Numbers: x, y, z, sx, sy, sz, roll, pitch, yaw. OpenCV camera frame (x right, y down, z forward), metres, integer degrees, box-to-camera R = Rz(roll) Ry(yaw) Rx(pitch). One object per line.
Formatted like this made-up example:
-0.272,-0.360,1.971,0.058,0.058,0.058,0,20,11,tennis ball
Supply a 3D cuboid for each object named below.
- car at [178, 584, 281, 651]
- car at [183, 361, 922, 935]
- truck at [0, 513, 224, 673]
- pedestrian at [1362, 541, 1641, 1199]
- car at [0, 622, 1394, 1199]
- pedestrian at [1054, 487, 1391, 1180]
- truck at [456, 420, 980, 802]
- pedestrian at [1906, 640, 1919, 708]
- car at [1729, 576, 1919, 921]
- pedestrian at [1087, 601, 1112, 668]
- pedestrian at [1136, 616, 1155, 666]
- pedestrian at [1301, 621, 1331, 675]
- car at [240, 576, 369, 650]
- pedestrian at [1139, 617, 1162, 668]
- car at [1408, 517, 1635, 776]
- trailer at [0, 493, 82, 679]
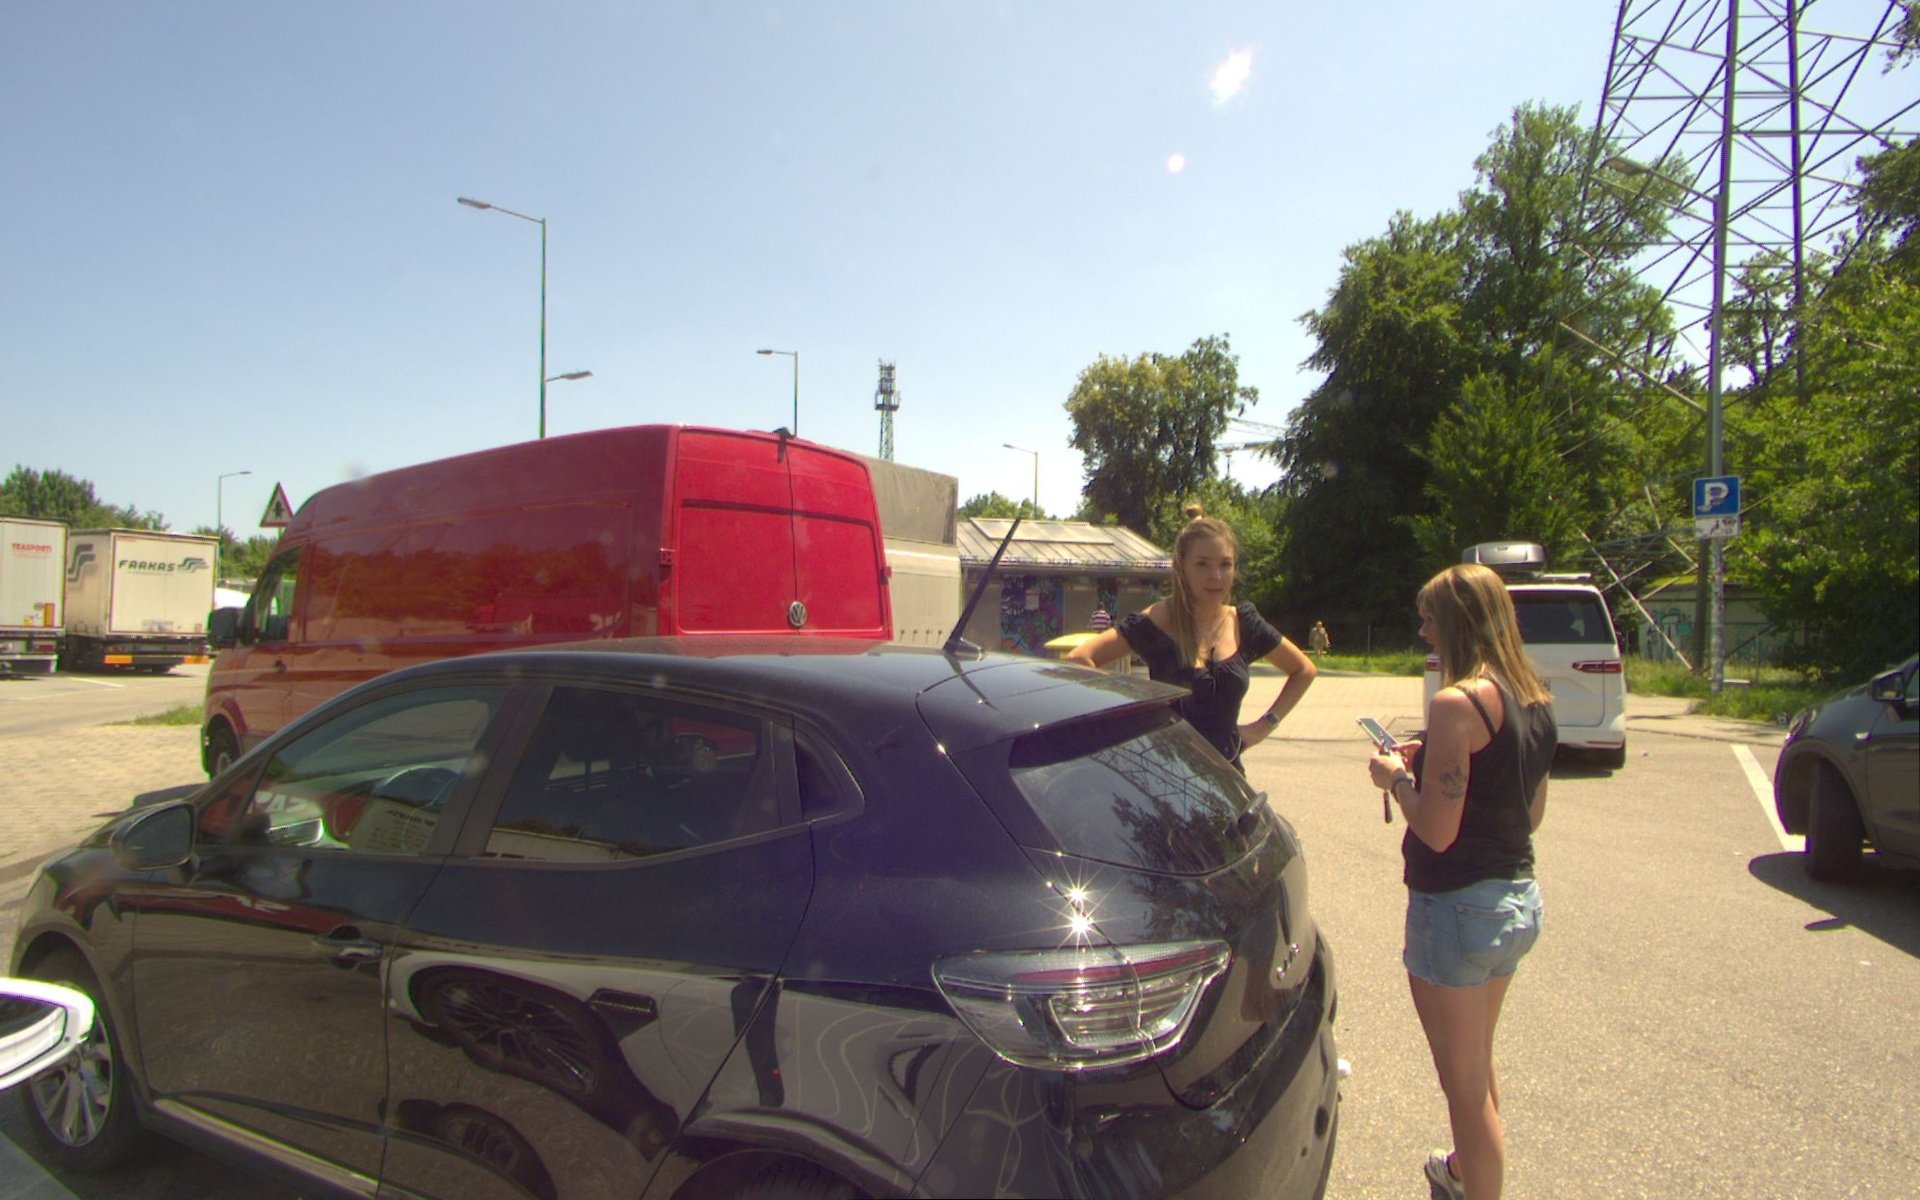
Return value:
-29.925,0.750,41.013,3.943,2.632,2.111,-1,-2,32,car
-3.369,0.249,7.330,6.298,2.668,1.988,0,-1,36,car
-27.062,-0.029,31.171,11.800,4.279,2.582,-1,-2,32,truck
1.212,0.696,2.274,0.478,1.615,0.501,1,0,29,pedestrian
-0.819,0.826,2.801,3.628,1.476,1.776,-1,-2,27,car
0.814,0.648,3.127,0.898,1.884,0.486,1,0,-23,pedestrian
-2.460,0.170,9.893,4.751,2.863,2.514,-1,-2,34,truck
17.125,1.295,17.432,0.694,1.178,0.787,-1,-1,22,pedestrian
5.366,0.706,4.215,1.804,1.638,4.165,1,-1,13,car
3.756,0.914,26.931,0.520,1.783,0.651,0,0,23,pedestrian
5.177,1.142,27.958,0.439,1.362,0.477,0,0,23,pedestrian
13.513,1.825,38.043,0.955,2.039,0.829,0,-1,10,pedestrian
-29.454,0.596,44.931,6.259,3.114,2.495,0,-1,32,car
5.536,1.225,29.089,0.521,1.478,0.576,0,0,23,pedestrian
6.622,0.489,11.915,1.901,2.401,4.954,1,-1,29,car
-28.582,-0.344,27.851,12.642,4.511,2.677,0,-1,32,trailer
